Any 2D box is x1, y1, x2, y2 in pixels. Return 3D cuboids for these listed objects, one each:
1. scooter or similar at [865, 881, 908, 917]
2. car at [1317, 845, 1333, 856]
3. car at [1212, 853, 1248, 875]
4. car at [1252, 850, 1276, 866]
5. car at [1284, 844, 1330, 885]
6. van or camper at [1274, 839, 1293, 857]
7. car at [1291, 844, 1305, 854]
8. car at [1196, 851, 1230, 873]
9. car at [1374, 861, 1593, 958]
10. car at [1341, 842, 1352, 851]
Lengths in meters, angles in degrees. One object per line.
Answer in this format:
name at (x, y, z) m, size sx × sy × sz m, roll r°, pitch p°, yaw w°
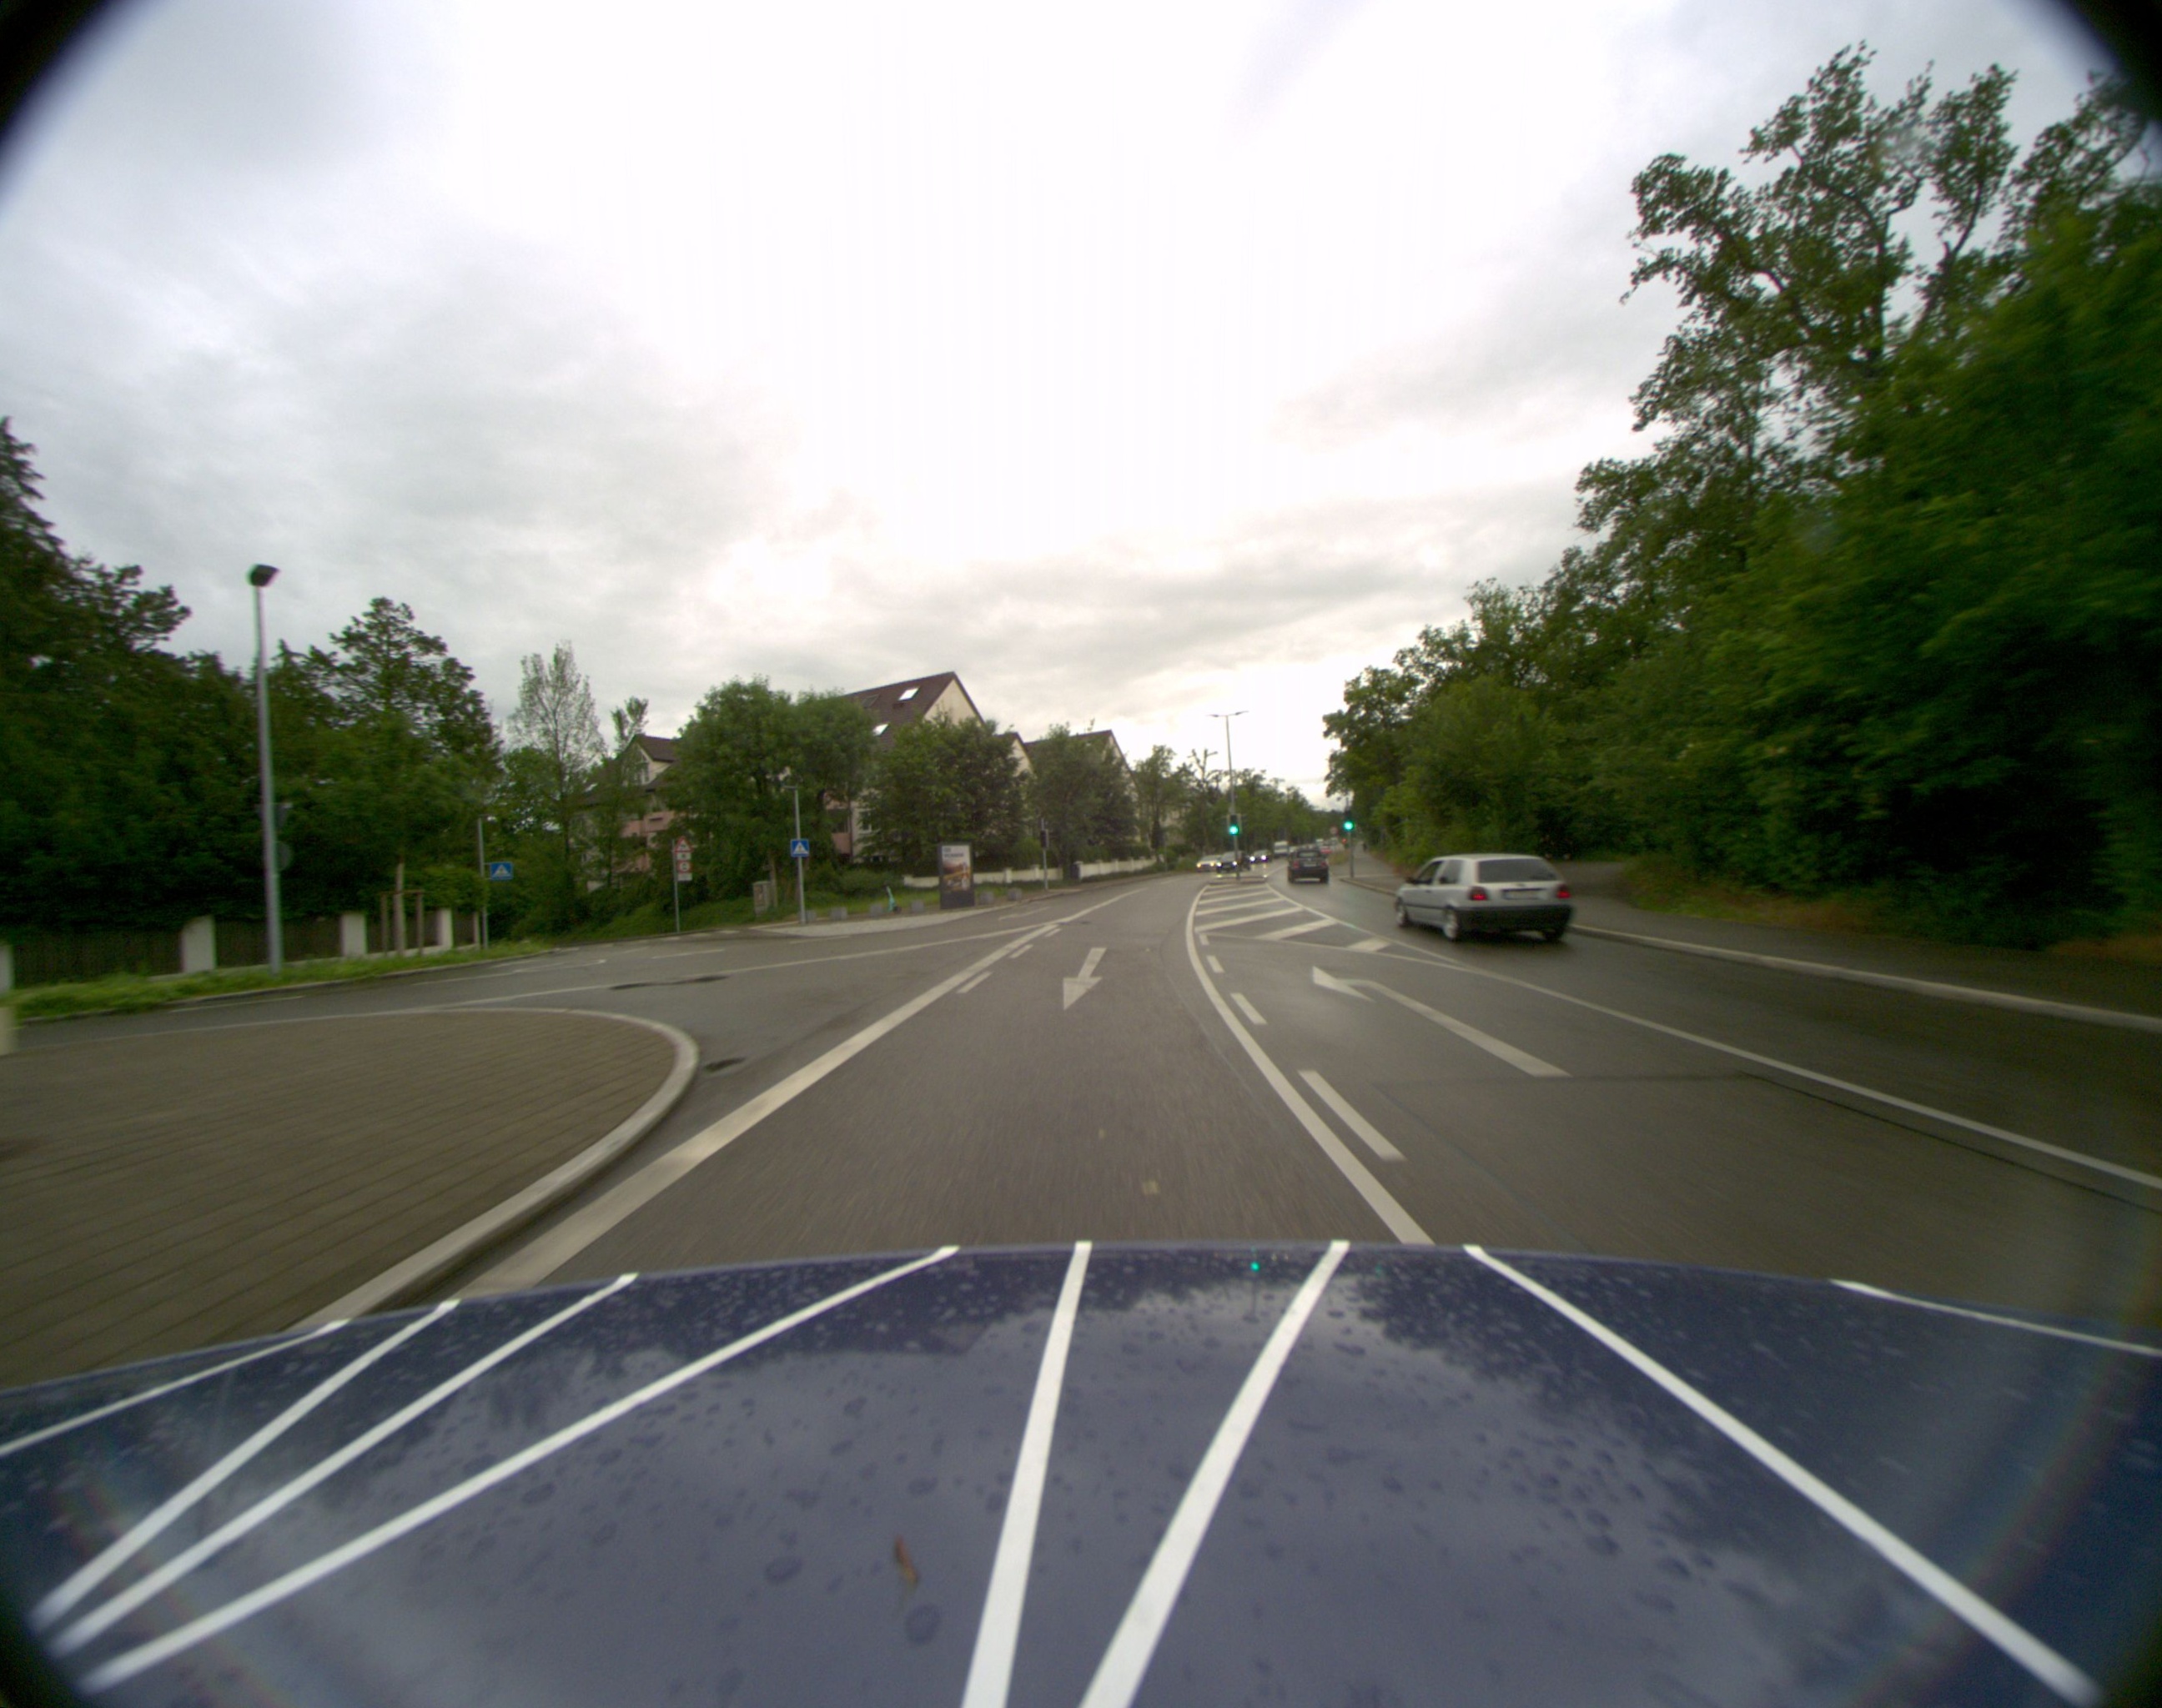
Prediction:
scooter or similar at (-7.287, 1.675, 28.429) m, size 1.350 × 1.200 × 0.525 m, roll -6°, pitch 0°, yaw 13°
car at (31.920, -0.436, 99.487) m, size 1.942 × 1.368 × 4.609 m, roll -2°, pitch 0°, yaw 17°
car at (10.616, 0.676, 53.920) m, size 1.942 × 1.446 × 4.610 m, roll -2°, pitch 0°, yaw 18°
car at (19.127, 0.403, 79.357) m, size 1.942 × 1.594 × 4.610 m, roll -2°, pitch 0°, yaw 19°
car at (10.090, 0.449, 34.126) m, size 1.579 × 1.720 × 3.778 m, roll -2°, pitch 0°, yaw 11°
van or camper at (30.252, -0.896, 113.366) m, size 1.996 × 2.438 × 4.728 m, roll -4°, pitch 0°, yaw 22°
car at (37.842, -0.882, 132.316) m, size 1.942 × 1.594 × 4.610 m, roll -2°, pitch 0°, yaw 19°
car at (10.703, 0.594, 61.405) m, size 1.942 × 1.594 × 4.610 m, roll -2°, pitch 0°, yaw 19°
car at (6.647, 0.830, 13.123) m, size 1.744 × 1.344 × 4.211 m, roll -2°, pitch 0°, yaw 4°
car at (51.032, -1.402, 146.148) m, size 1.942 × 1.594 × 4.610 m, roll -2°, pitch 0°, yaw 19°
